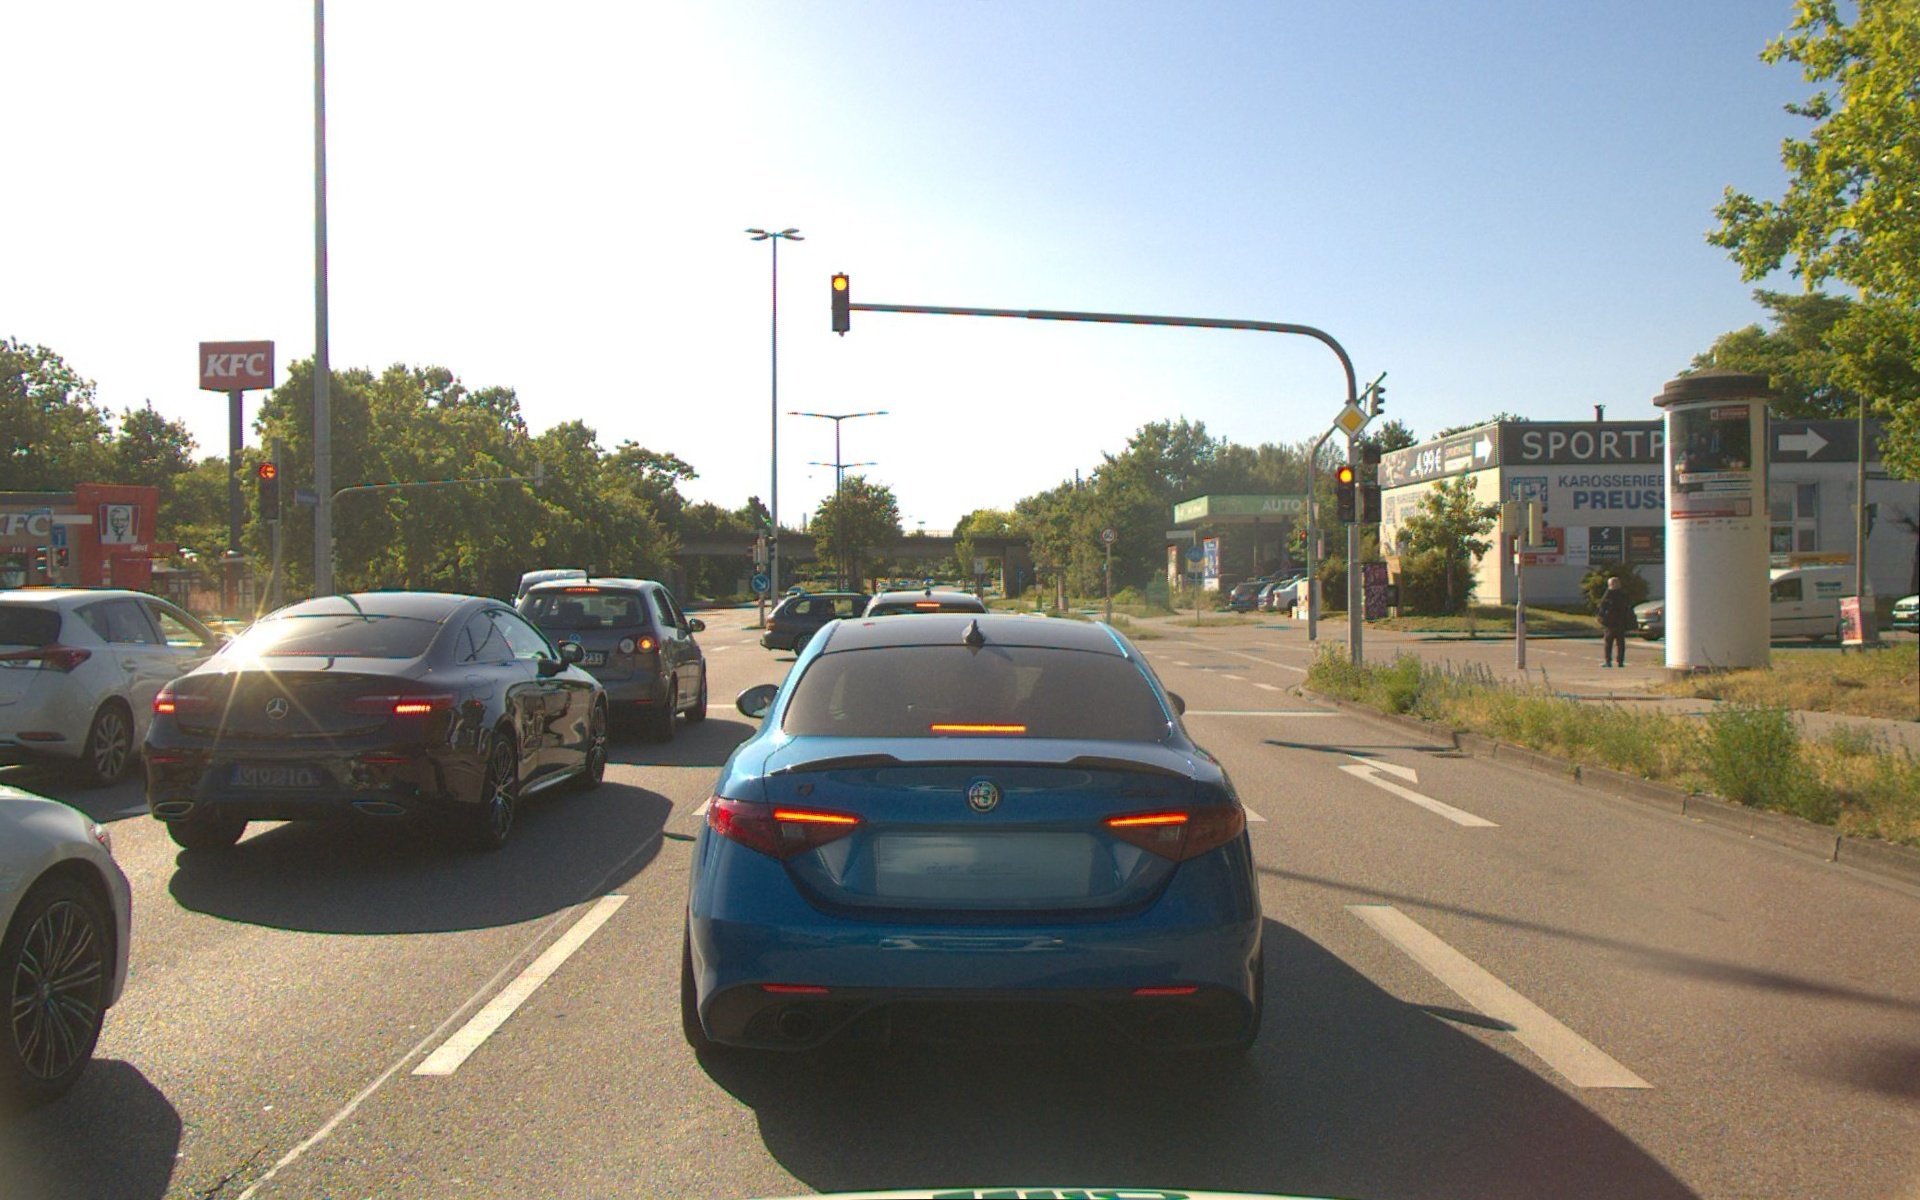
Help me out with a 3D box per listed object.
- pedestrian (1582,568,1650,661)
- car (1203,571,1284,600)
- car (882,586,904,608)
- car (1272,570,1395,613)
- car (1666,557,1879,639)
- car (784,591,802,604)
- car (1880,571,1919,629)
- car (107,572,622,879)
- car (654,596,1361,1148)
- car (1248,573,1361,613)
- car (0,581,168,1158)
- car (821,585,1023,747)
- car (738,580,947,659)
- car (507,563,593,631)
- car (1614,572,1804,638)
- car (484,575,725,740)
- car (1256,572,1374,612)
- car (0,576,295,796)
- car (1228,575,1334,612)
[{"bbox_3d":[12.680,0.282,31.991,0.906,1.765,0.938,1,-1,-1],"label":"pedestrian"},{"bbox_3d":[16.715,-0.850,97.574,4.457,1.516,1.765,-2,0,1],"label":"car"},{"bbox_3d":[-5.890,-0.268,146.129,1.853,1.847,3.999,1,0,-1],"label":"car"},{"bbox_3d":[14.603,-0.322,64.786,4.397,1.479,1.858,-2,0,1],"label":"car"},{"bbox_3d":[19.596,-0.079,39.989,4.293,1.833,1.764,-1,2,-2],"label":"car"},{"bbox_3d":[-20.180,-0.316,200.286,1.723,1.516,4.477,-2,0,-1],"label":"car"},{"bbox_3d":[26.799,-0.063,43.738,3.960,1.516,1.782,-2,0,-3],"label":"car"},{"bbox_3d":[-3.440,0.641,10.542,1.760,1.516,4.474,1,0,-2],"label":"car"},{"bbox_3d":[0.067,0.736,6.584,1.857,1.443,4.401,1,0,-2],"label":"car"},{"bbox_3d":[14.623,-0.298,70.319,4.397,1.479,1.858,-2,0,1],"label":"car"},{"bbox_3d":[-3.344,0.690,3.038,1.749,1.516,4.401,1,0,-2],"label":"car"},{"bbox_3d":[-0.415,0.606,17.212,1.813,1.443,4.401,1,0,-2],"label":"car"},{"bbox_3d":[-2.499,0.407,35.836,4.320,1.516,1.765,-2,0,1],"label":"car"},{"bbox_3d":[-16.399,-0.111,66.463,1.981,2.489,5.820,-3,0,-1],"label":"car"},{"bbox_3d":[19.592,0.109,43.368,4.201,1.576,1.764,-1,2,-2],"label":"car"},{"bbox_3d":[-3.626,0.545,17.640,1.723,1.516,4.401,1,0,-2],"label":"car"},{"bbox_3d":[14.480,-0.321,67.564,4.397,1.479,1.858,-2,0,1],"label":"car"},{"bbox_3d":[-7.102,0.593,13.529,1.723,1.516,4.195,1,0,-2],"label":"car"},{"bbox_3d":[14.394,-0.290,74.366,4.397,1.479,1.858,-2,0,1],"label":"car"}]
